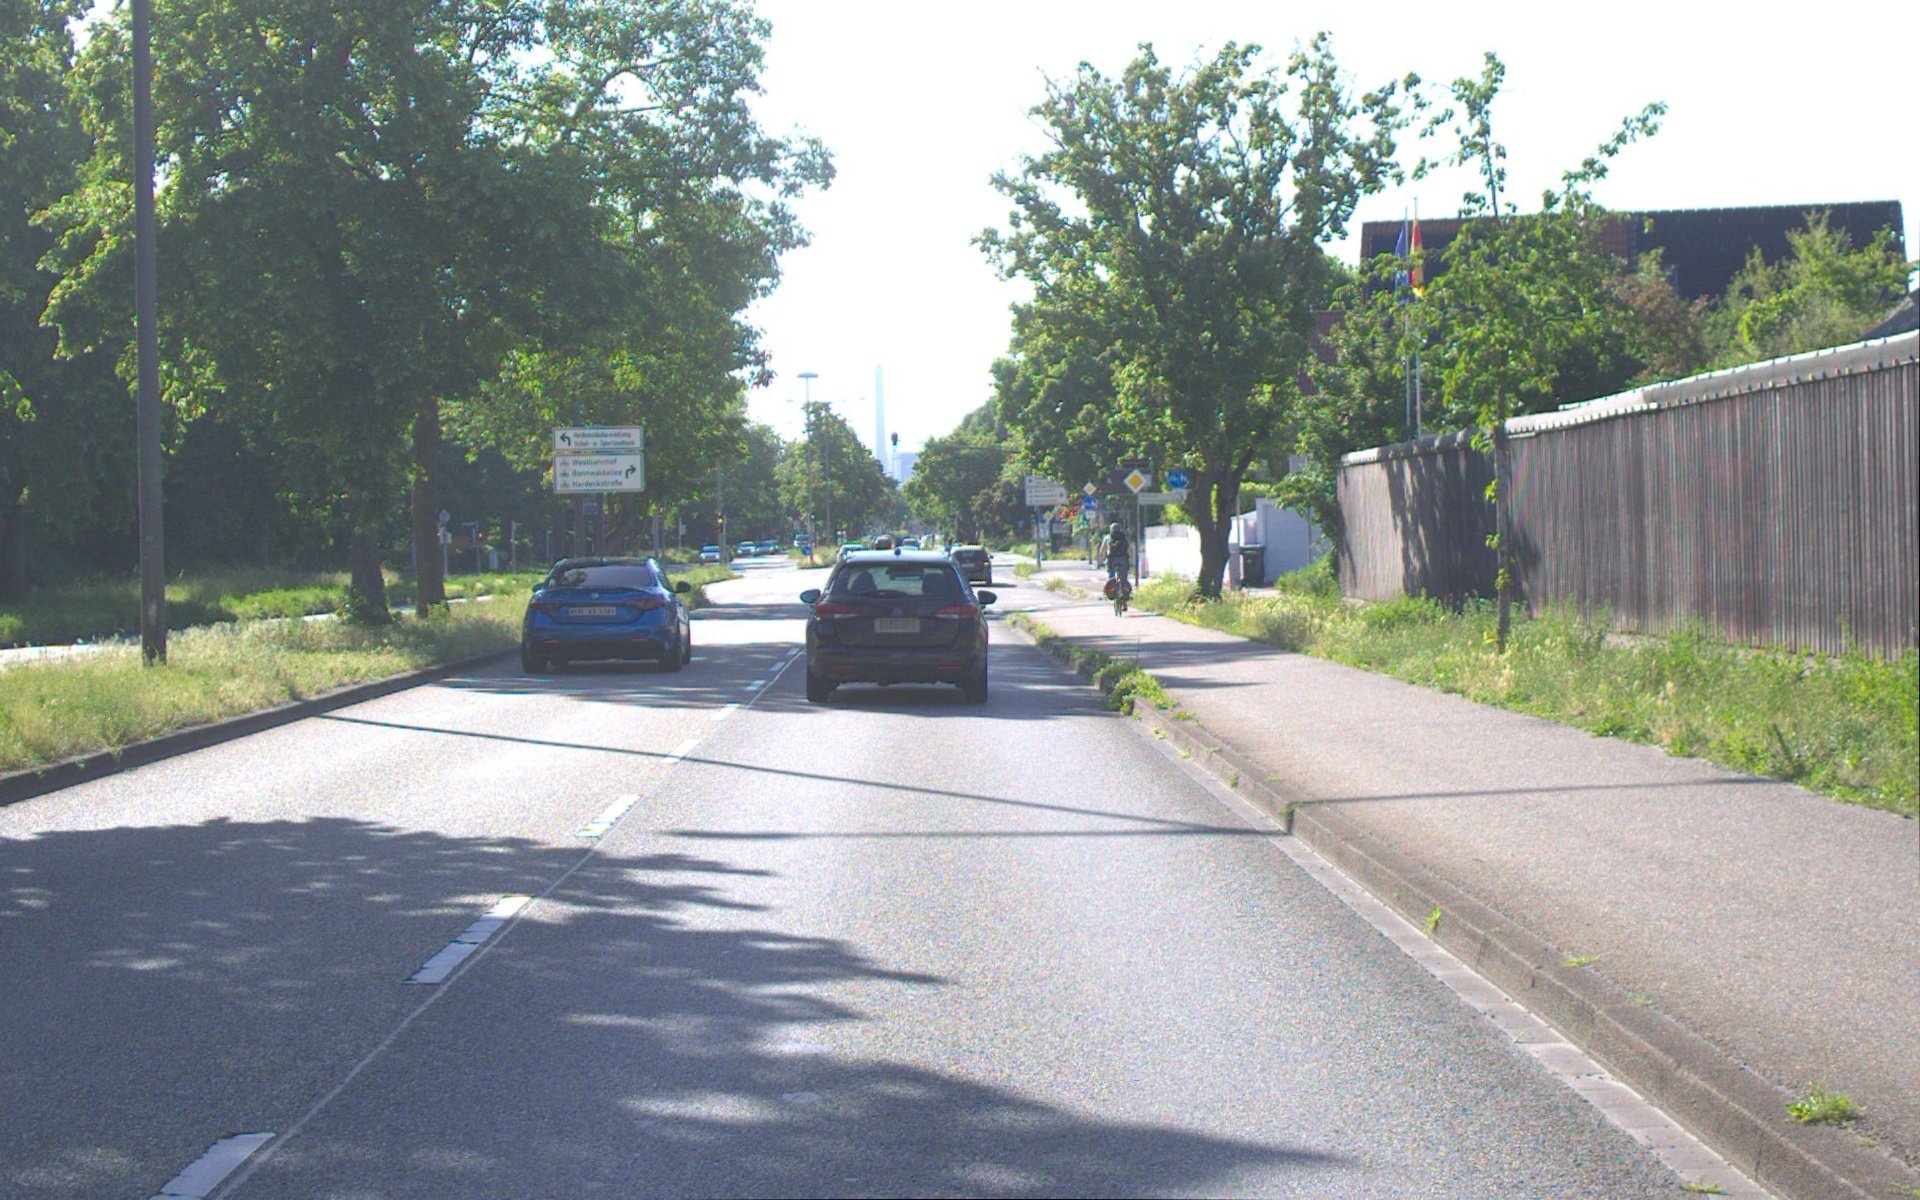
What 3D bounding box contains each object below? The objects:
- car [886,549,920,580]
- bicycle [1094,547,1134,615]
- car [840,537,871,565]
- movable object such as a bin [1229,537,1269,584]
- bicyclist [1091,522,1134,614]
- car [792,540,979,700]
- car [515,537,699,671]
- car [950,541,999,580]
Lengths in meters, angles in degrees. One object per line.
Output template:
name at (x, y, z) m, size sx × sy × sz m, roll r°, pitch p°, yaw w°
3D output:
car at (-3.015, -1.888, 181.391) m, size 1.732 × 1.579 × 3.840 m, roll 1°, pitch 0°, yaw -1°
bicycle at (2.813, -0.355, 62.677) m, size 0.574 × 1.151 × 2.140 m, roll -4°, pitch 1°, yaw 5°
car at (-6.335, -2.996, 208.663) m, size 1.824 × 1.609 × 3.841 m, roll -2°, pitch 2°, yaw -1°
movable object such as a bin at (7.807, -1.058, 92.859) m, size 1.002 × 1.201 × 1.062 m, roll -3°, pitch 0°, yaw 7°
bicyclist at (2.785, -0.588, 62.648) m, size 0.630 × 1.627 × 0.982 m, roll -4°, pitch 1°, yaw 5°
car at (-0.727, 0.173, 34.239) m, size 1.755 × 1.504 × 3.809 m, roll 0°, pitch 0°, yaw -1°
car at (-4.338, 0.024, 42.736) m, size 1.888 × 1.547 × 4.000 m, roll -1°, pitch 1°, yaw -1°
car at (0.566, -1.532, 133.039) m, size 1.732 × 1.454 × 3.840 m, roll -1°, pitch 1°, yaw 3°
